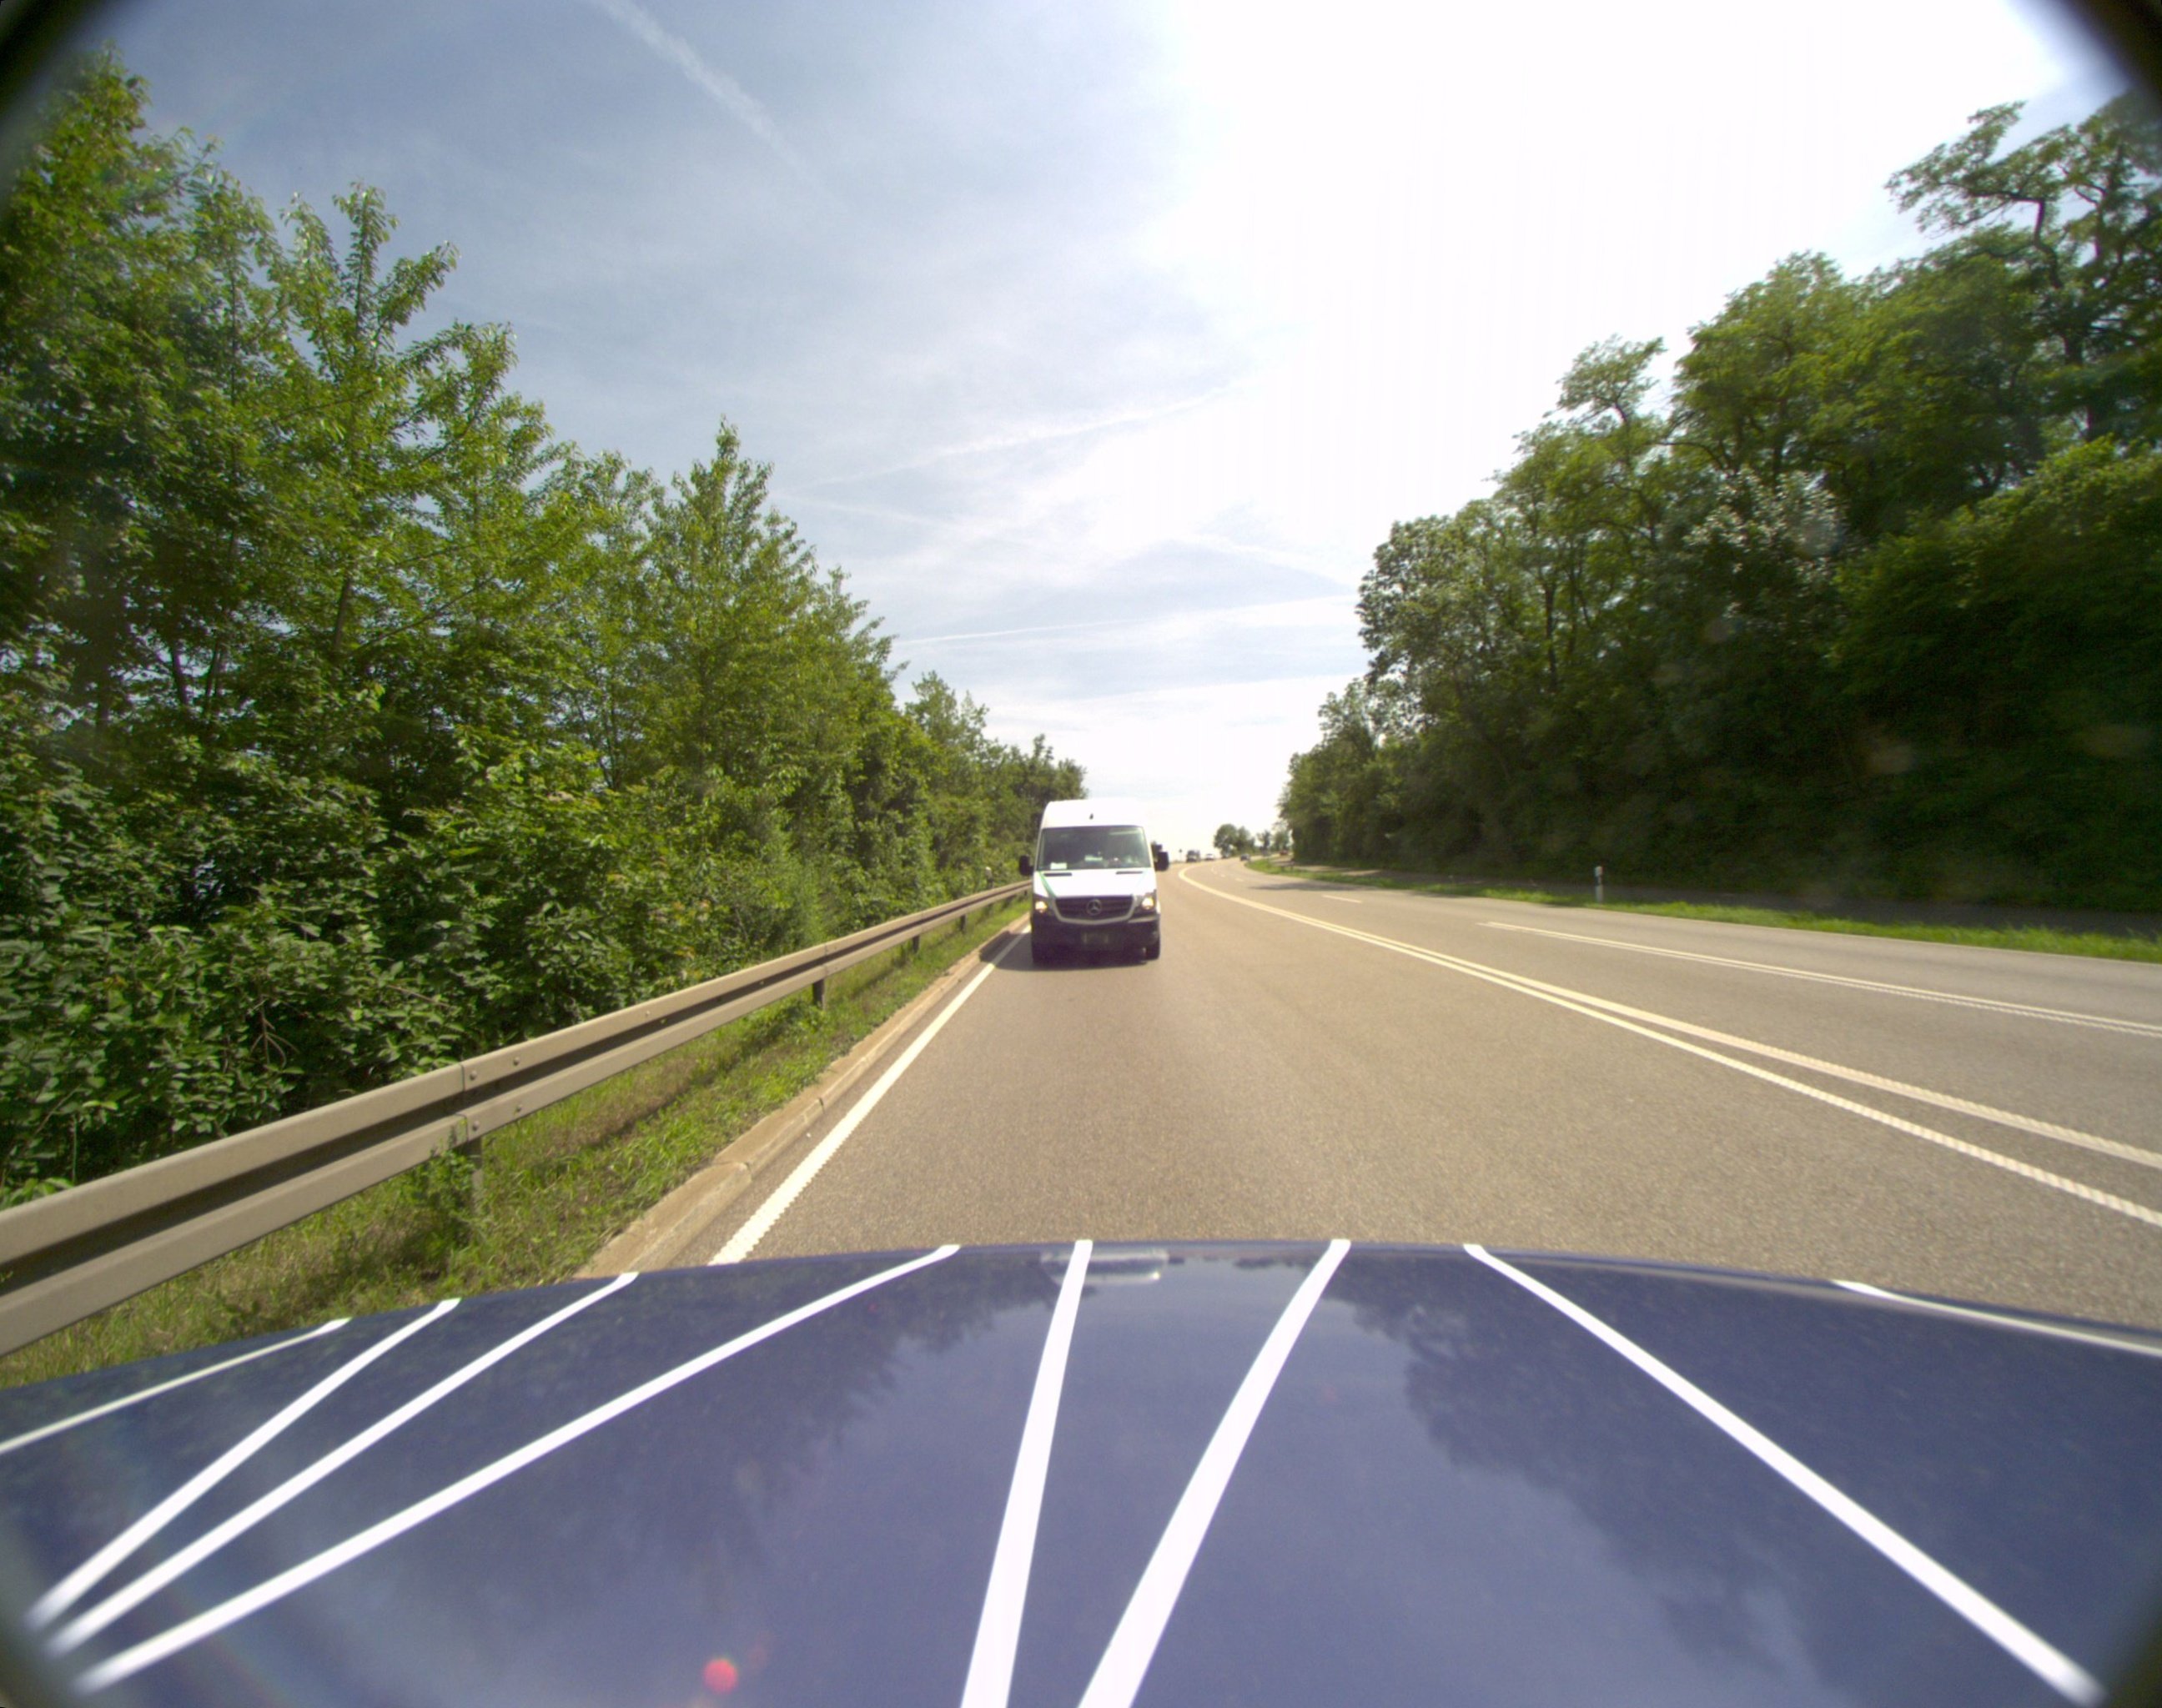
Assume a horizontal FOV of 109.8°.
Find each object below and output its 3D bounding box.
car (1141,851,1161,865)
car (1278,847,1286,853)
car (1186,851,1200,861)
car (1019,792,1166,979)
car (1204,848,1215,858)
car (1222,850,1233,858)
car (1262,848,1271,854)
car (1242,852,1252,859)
[{"bbox_3d":[8.976,0.470,97.339,1.997,1.718,4.003,-2,1,11],"label":"car"},{"bbox_3d":[55.347,-1.057,209.098,1.996,1.665,4.005,-2,0,16],"label":"car"},{"bbox_3d":[21.785,0.358,147.920,1.996,2.002,4.005,-2,0,16],"label":"car"},{"bbox_3d":[0.229,0.436,12.891,1.958,2.502,5.267,-1,0,2],"label":"car"},{"bbox_3d":[29.010,-0.202,171.085,1.849,2.002,3.876,-2,1,18],"label":"car"},{"bbox_3d":[36.504,-0.041,189.469,1.763,1.849,3.815,-2,1,22],"label":"car"},{"bbox_3d":[50.212,-0.835,205.170,1.957,1.717,3.916,-2,0,19],"label":"car"},{"bbox_3d":[33.451,0.294,153.163,1.805,1.379,3.874,-2,0,13],"label":"car"}]
